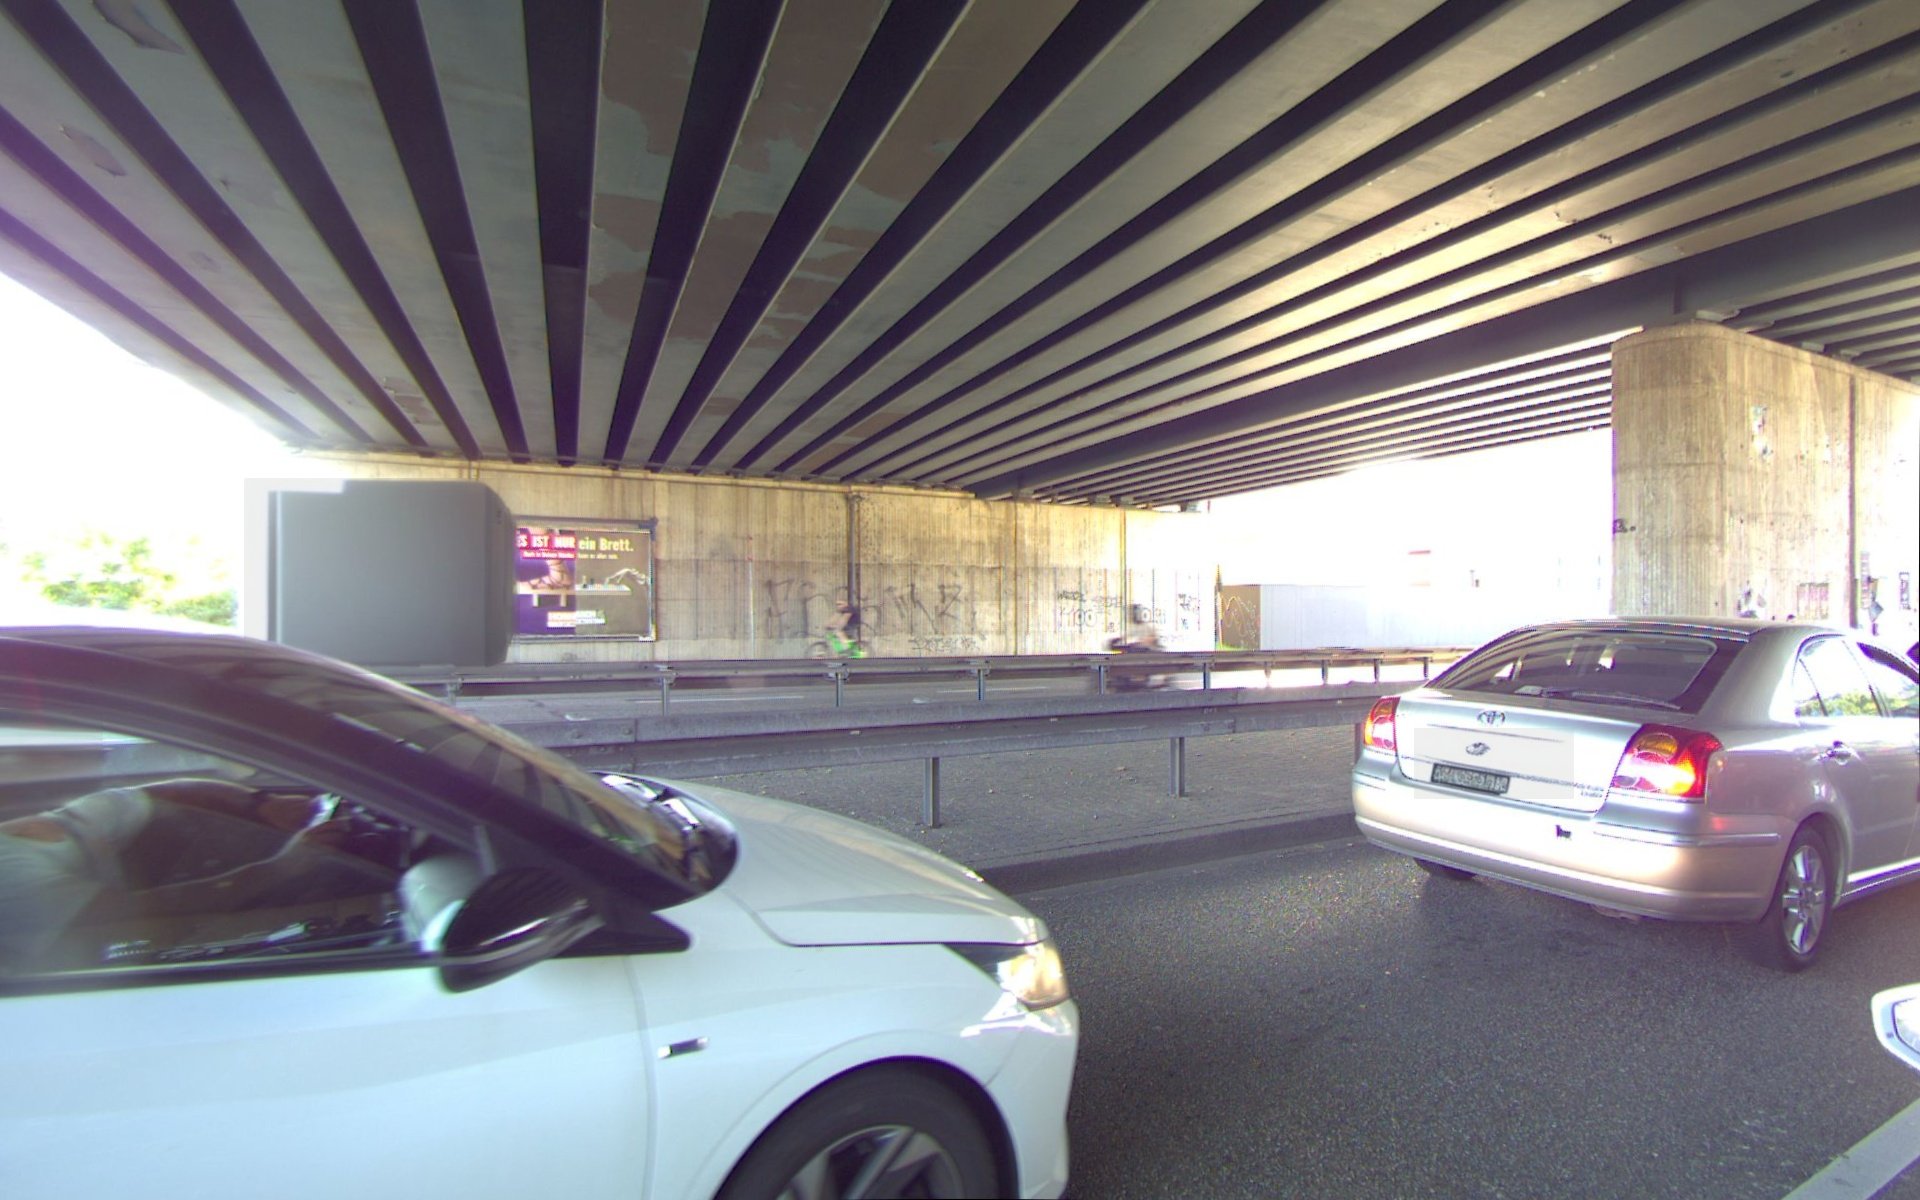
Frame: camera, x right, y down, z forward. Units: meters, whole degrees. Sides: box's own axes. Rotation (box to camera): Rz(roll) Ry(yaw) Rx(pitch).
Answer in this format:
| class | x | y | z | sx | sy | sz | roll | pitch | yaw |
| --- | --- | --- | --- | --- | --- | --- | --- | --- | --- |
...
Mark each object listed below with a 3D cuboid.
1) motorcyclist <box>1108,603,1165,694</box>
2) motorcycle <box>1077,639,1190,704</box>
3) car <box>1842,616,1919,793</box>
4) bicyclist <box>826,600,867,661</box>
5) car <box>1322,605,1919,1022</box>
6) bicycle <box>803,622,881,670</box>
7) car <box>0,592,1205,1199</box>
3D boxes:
| class | x | y | z | sx | sy | sz | roll | pitch | yaw |
| --- | --- | --- | --- | --- | --- | --- | --- | --- | --- |
| motorcyclist | 3.102 | 0.828 | 17.672 | 0.690 | 1.548 | 0.693 | 0 | 1 | -30 |
| motorcycle | 3.068 | 1.227 | 17.671 | 1.985 | 1.041 | 0.689 | 0 | 0 | -30 |
| car | 9.623 | 0.893 | 8.874 | 3.769 | 1.429 | 1.684 | 1 | 0 | -31 |
| bicyclist | -2.926 | 0.785 | 25.805 | 0.827 | 1.545 | 0.624 | 2 | 0 | -30 |
| car | 4.122 | 0.810 | 5.461 | 4.347 | 1.474 | 1.688 | 1 | 0 | -31 |
| bicycle | -3.018 | 1.178 | 25.769 | 1.856 | 1.181 | 0.631 | 2 | 0 | -30 |
| car | -1.532 | 0.701 | 1.912 | 3.828 | 1.422 | 1.723 | 1 | 0 | -32 |
